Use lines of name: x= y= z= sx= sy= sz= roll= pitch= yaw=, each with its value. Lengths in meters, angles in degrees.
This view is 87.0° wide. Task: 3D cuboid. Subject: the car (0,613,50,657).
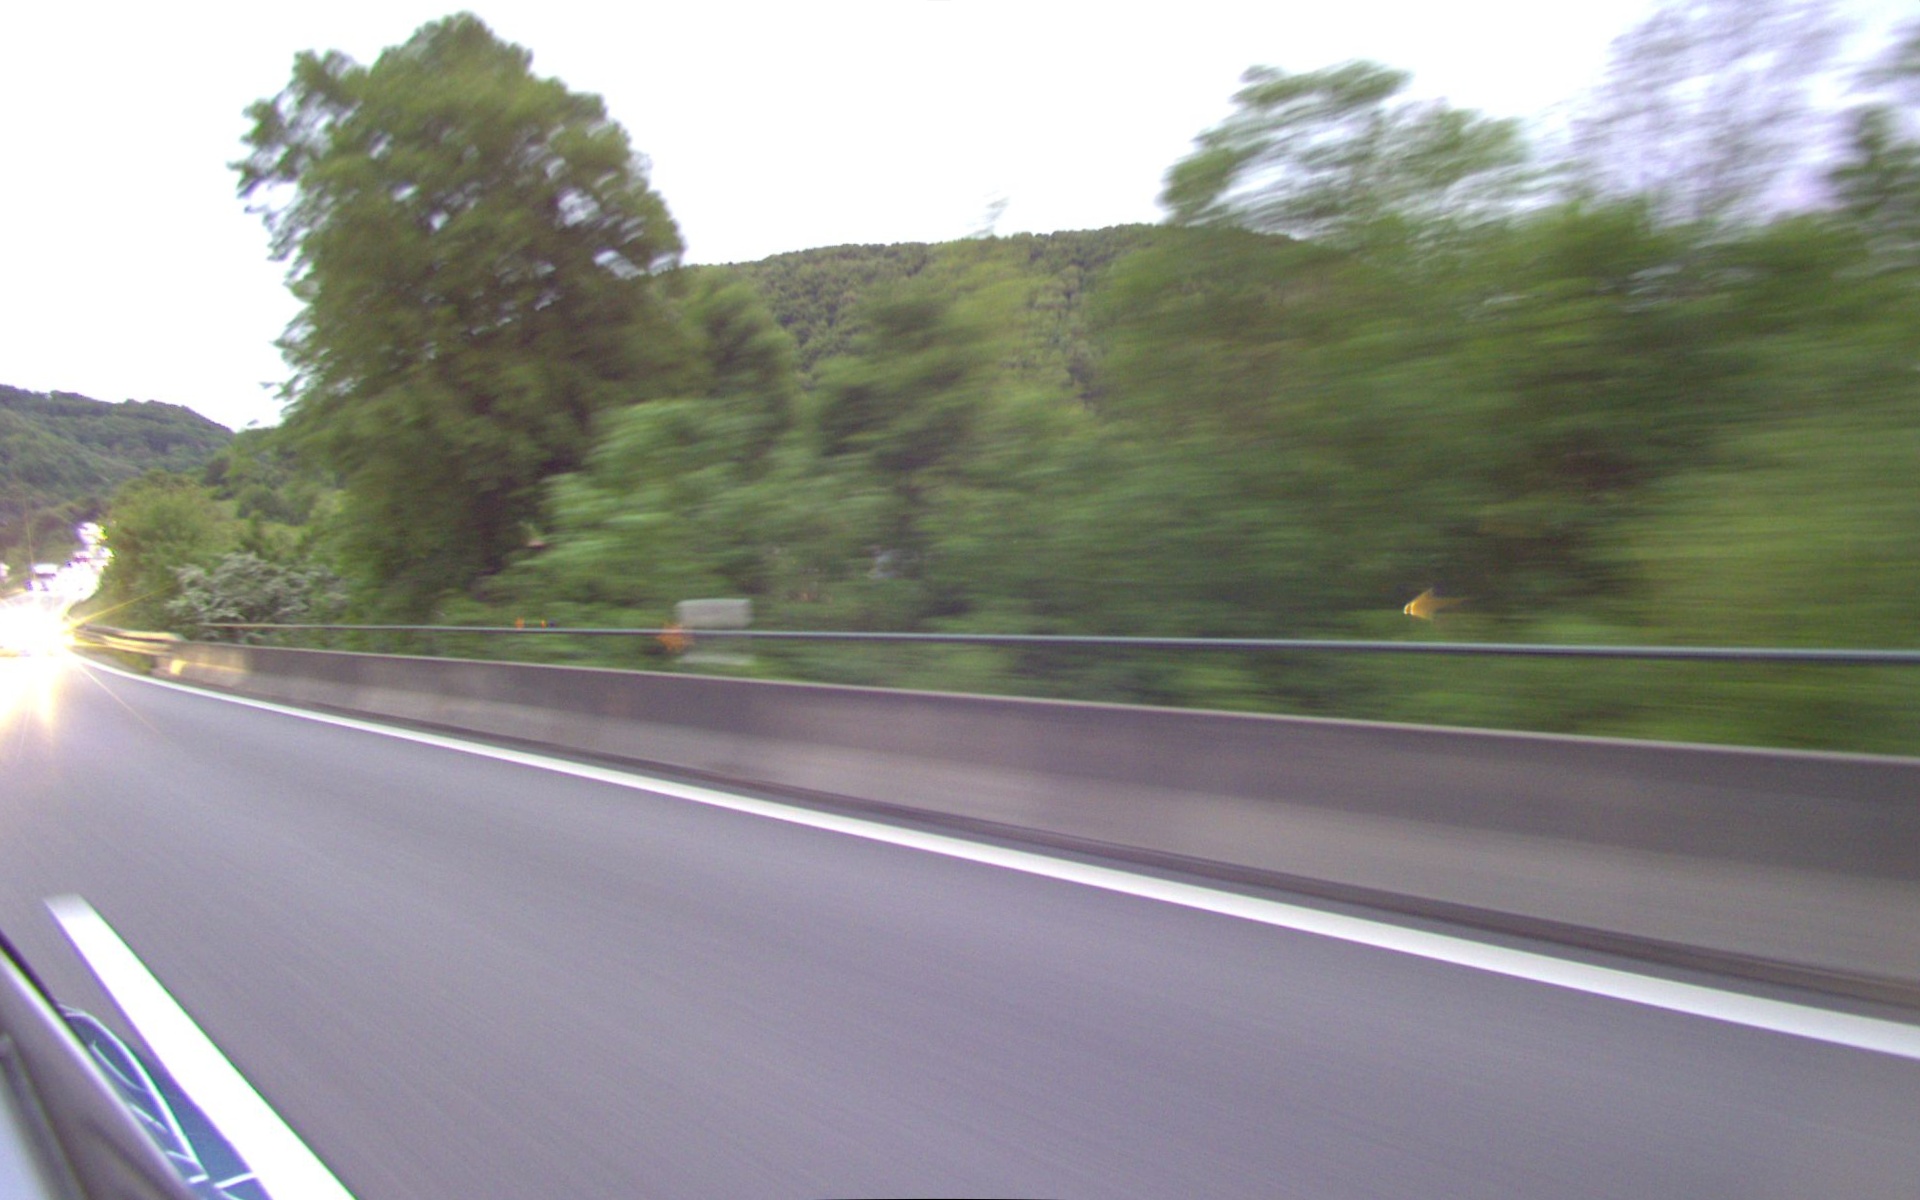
car: x=-34.260 y=1.247 z=36.766 sx=1.666 sy=1.479 sz=3.771 roll=-1 pitch=0 yaw=-44

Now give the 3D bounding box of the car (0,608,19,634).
car: x=-55.148 y=1.195 z=58.004 sx=3.670 sy=1.444 sz=1.667 roll=-1 pitch=0 yaw=45
